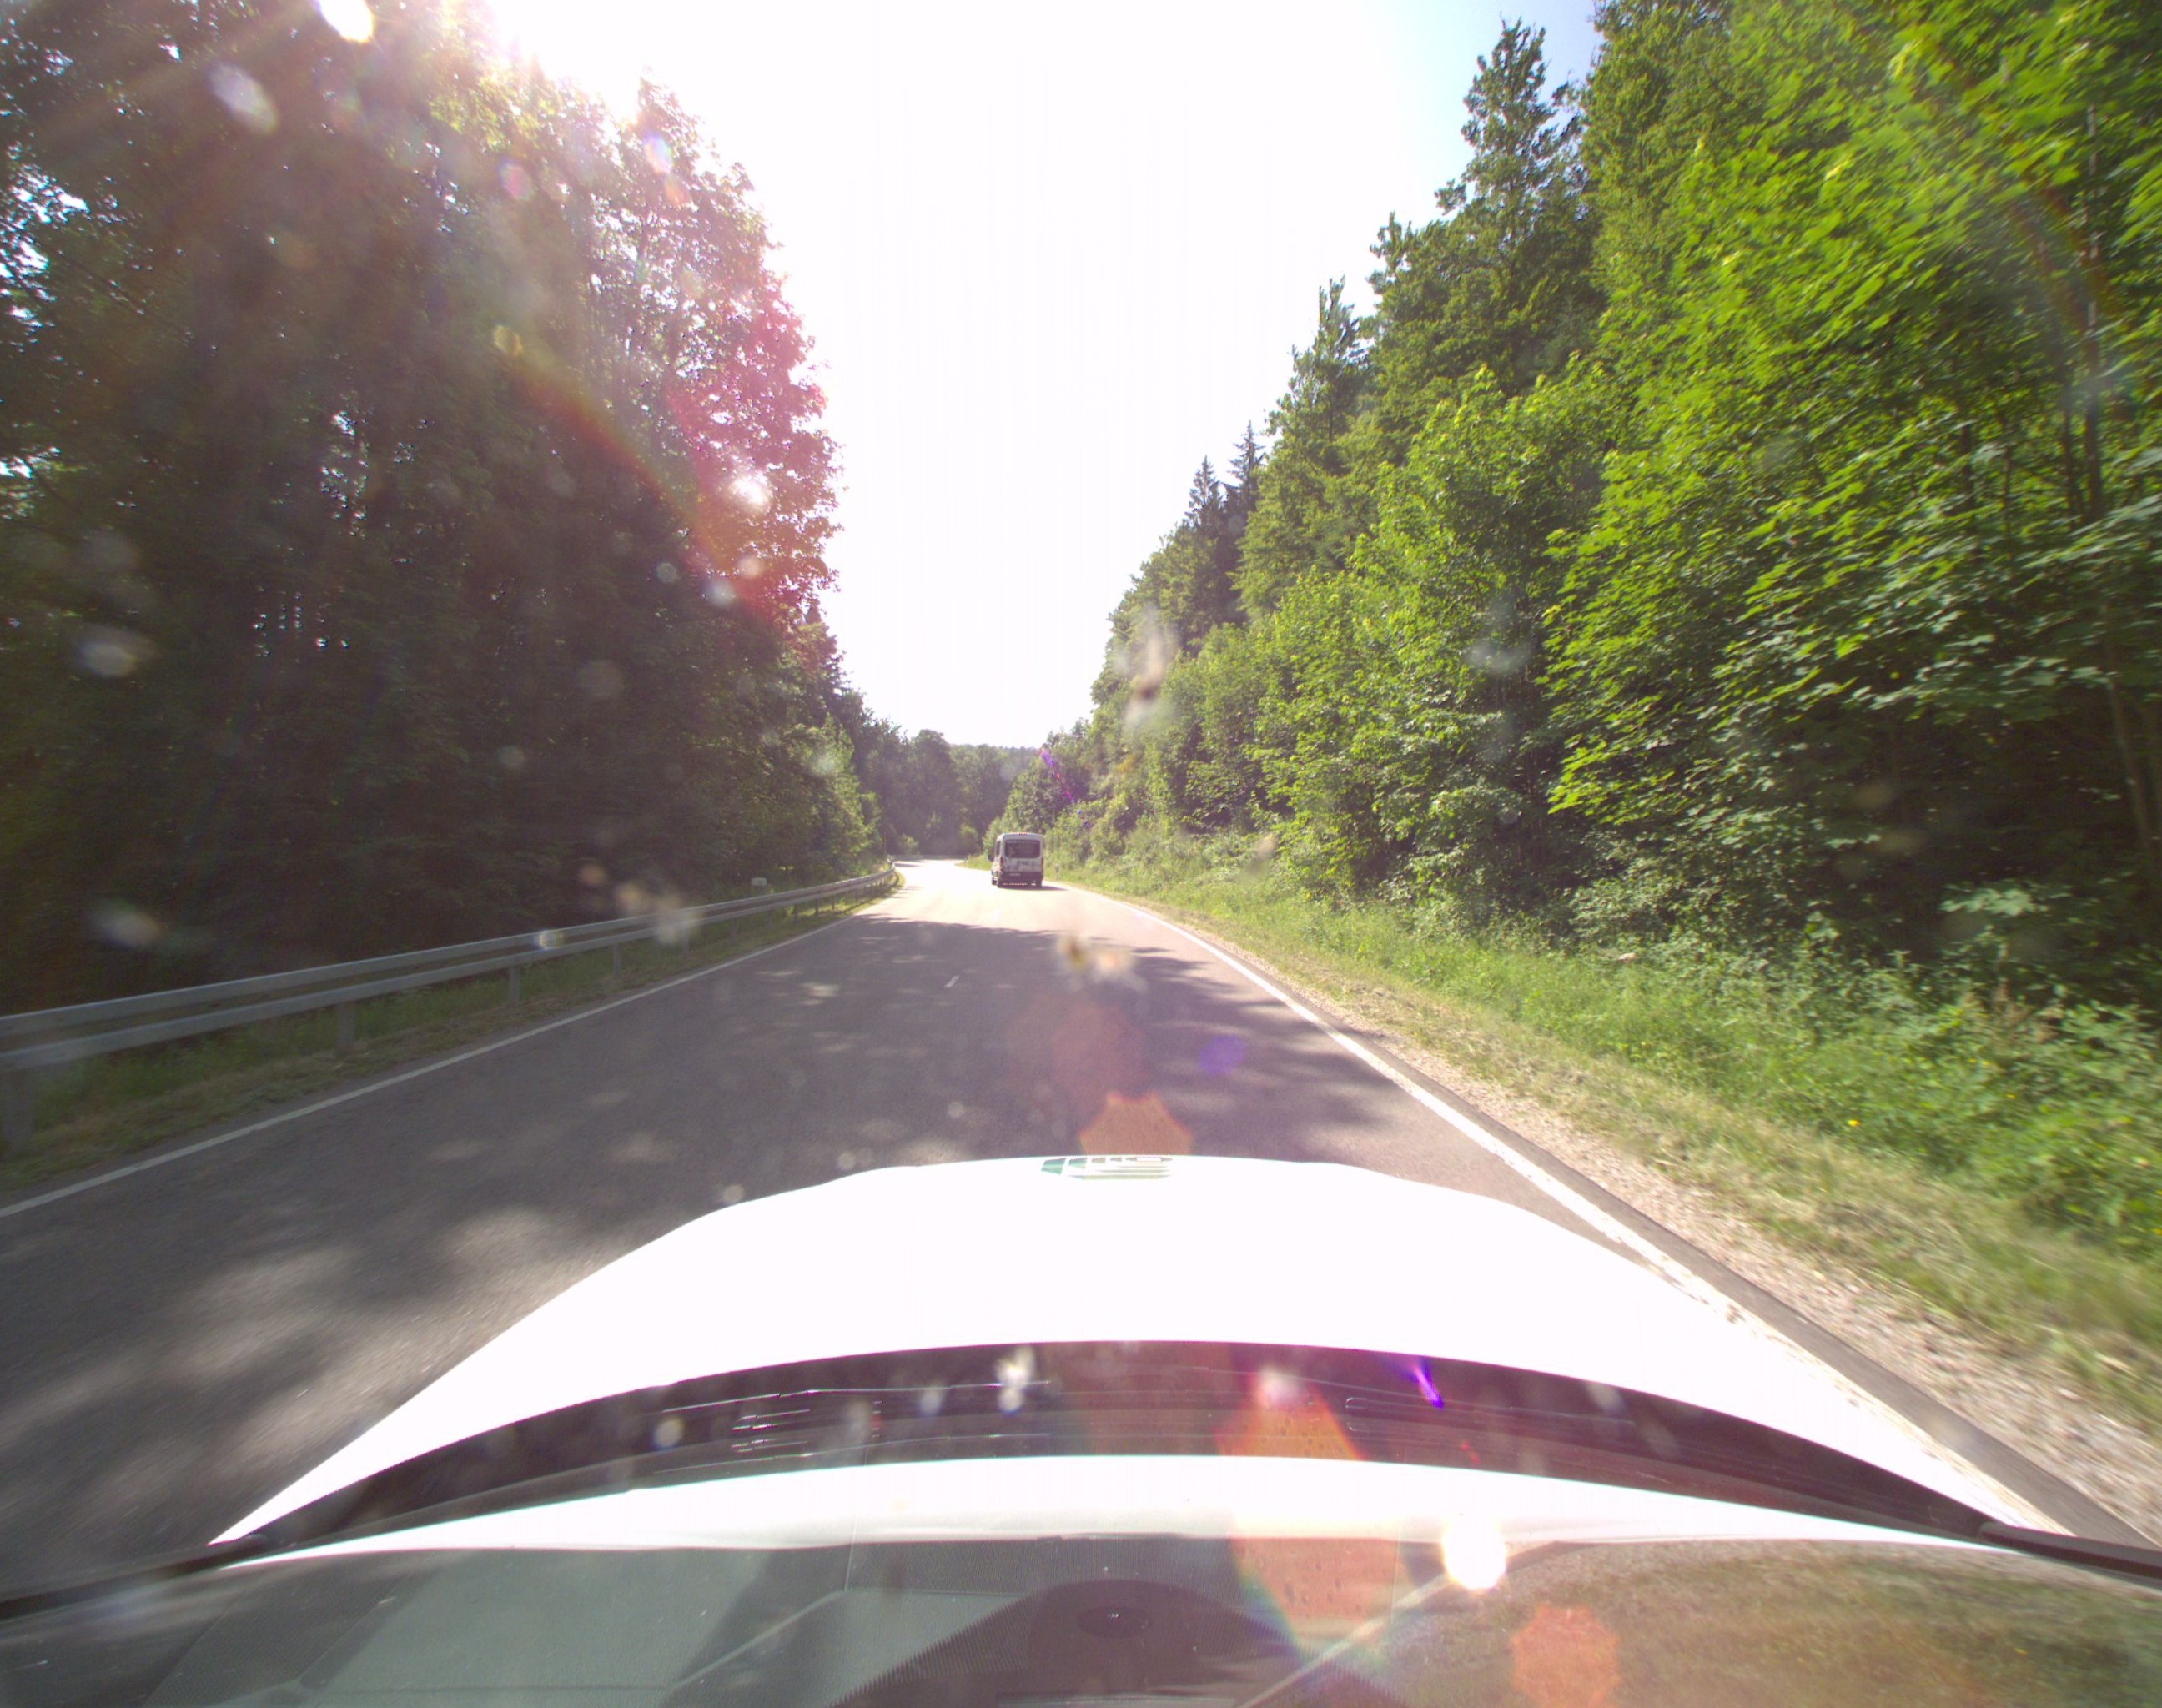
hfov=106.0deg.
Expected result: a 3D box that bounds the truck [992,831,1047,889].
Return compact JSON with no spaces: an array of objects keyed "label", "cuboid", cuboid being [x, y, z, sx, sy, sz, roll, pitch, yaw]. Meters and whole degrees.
[{"label":"truck","cuboid":[-2.998,0.253,38.410,2.115,2.498,5.341,0,0,-10]}]
